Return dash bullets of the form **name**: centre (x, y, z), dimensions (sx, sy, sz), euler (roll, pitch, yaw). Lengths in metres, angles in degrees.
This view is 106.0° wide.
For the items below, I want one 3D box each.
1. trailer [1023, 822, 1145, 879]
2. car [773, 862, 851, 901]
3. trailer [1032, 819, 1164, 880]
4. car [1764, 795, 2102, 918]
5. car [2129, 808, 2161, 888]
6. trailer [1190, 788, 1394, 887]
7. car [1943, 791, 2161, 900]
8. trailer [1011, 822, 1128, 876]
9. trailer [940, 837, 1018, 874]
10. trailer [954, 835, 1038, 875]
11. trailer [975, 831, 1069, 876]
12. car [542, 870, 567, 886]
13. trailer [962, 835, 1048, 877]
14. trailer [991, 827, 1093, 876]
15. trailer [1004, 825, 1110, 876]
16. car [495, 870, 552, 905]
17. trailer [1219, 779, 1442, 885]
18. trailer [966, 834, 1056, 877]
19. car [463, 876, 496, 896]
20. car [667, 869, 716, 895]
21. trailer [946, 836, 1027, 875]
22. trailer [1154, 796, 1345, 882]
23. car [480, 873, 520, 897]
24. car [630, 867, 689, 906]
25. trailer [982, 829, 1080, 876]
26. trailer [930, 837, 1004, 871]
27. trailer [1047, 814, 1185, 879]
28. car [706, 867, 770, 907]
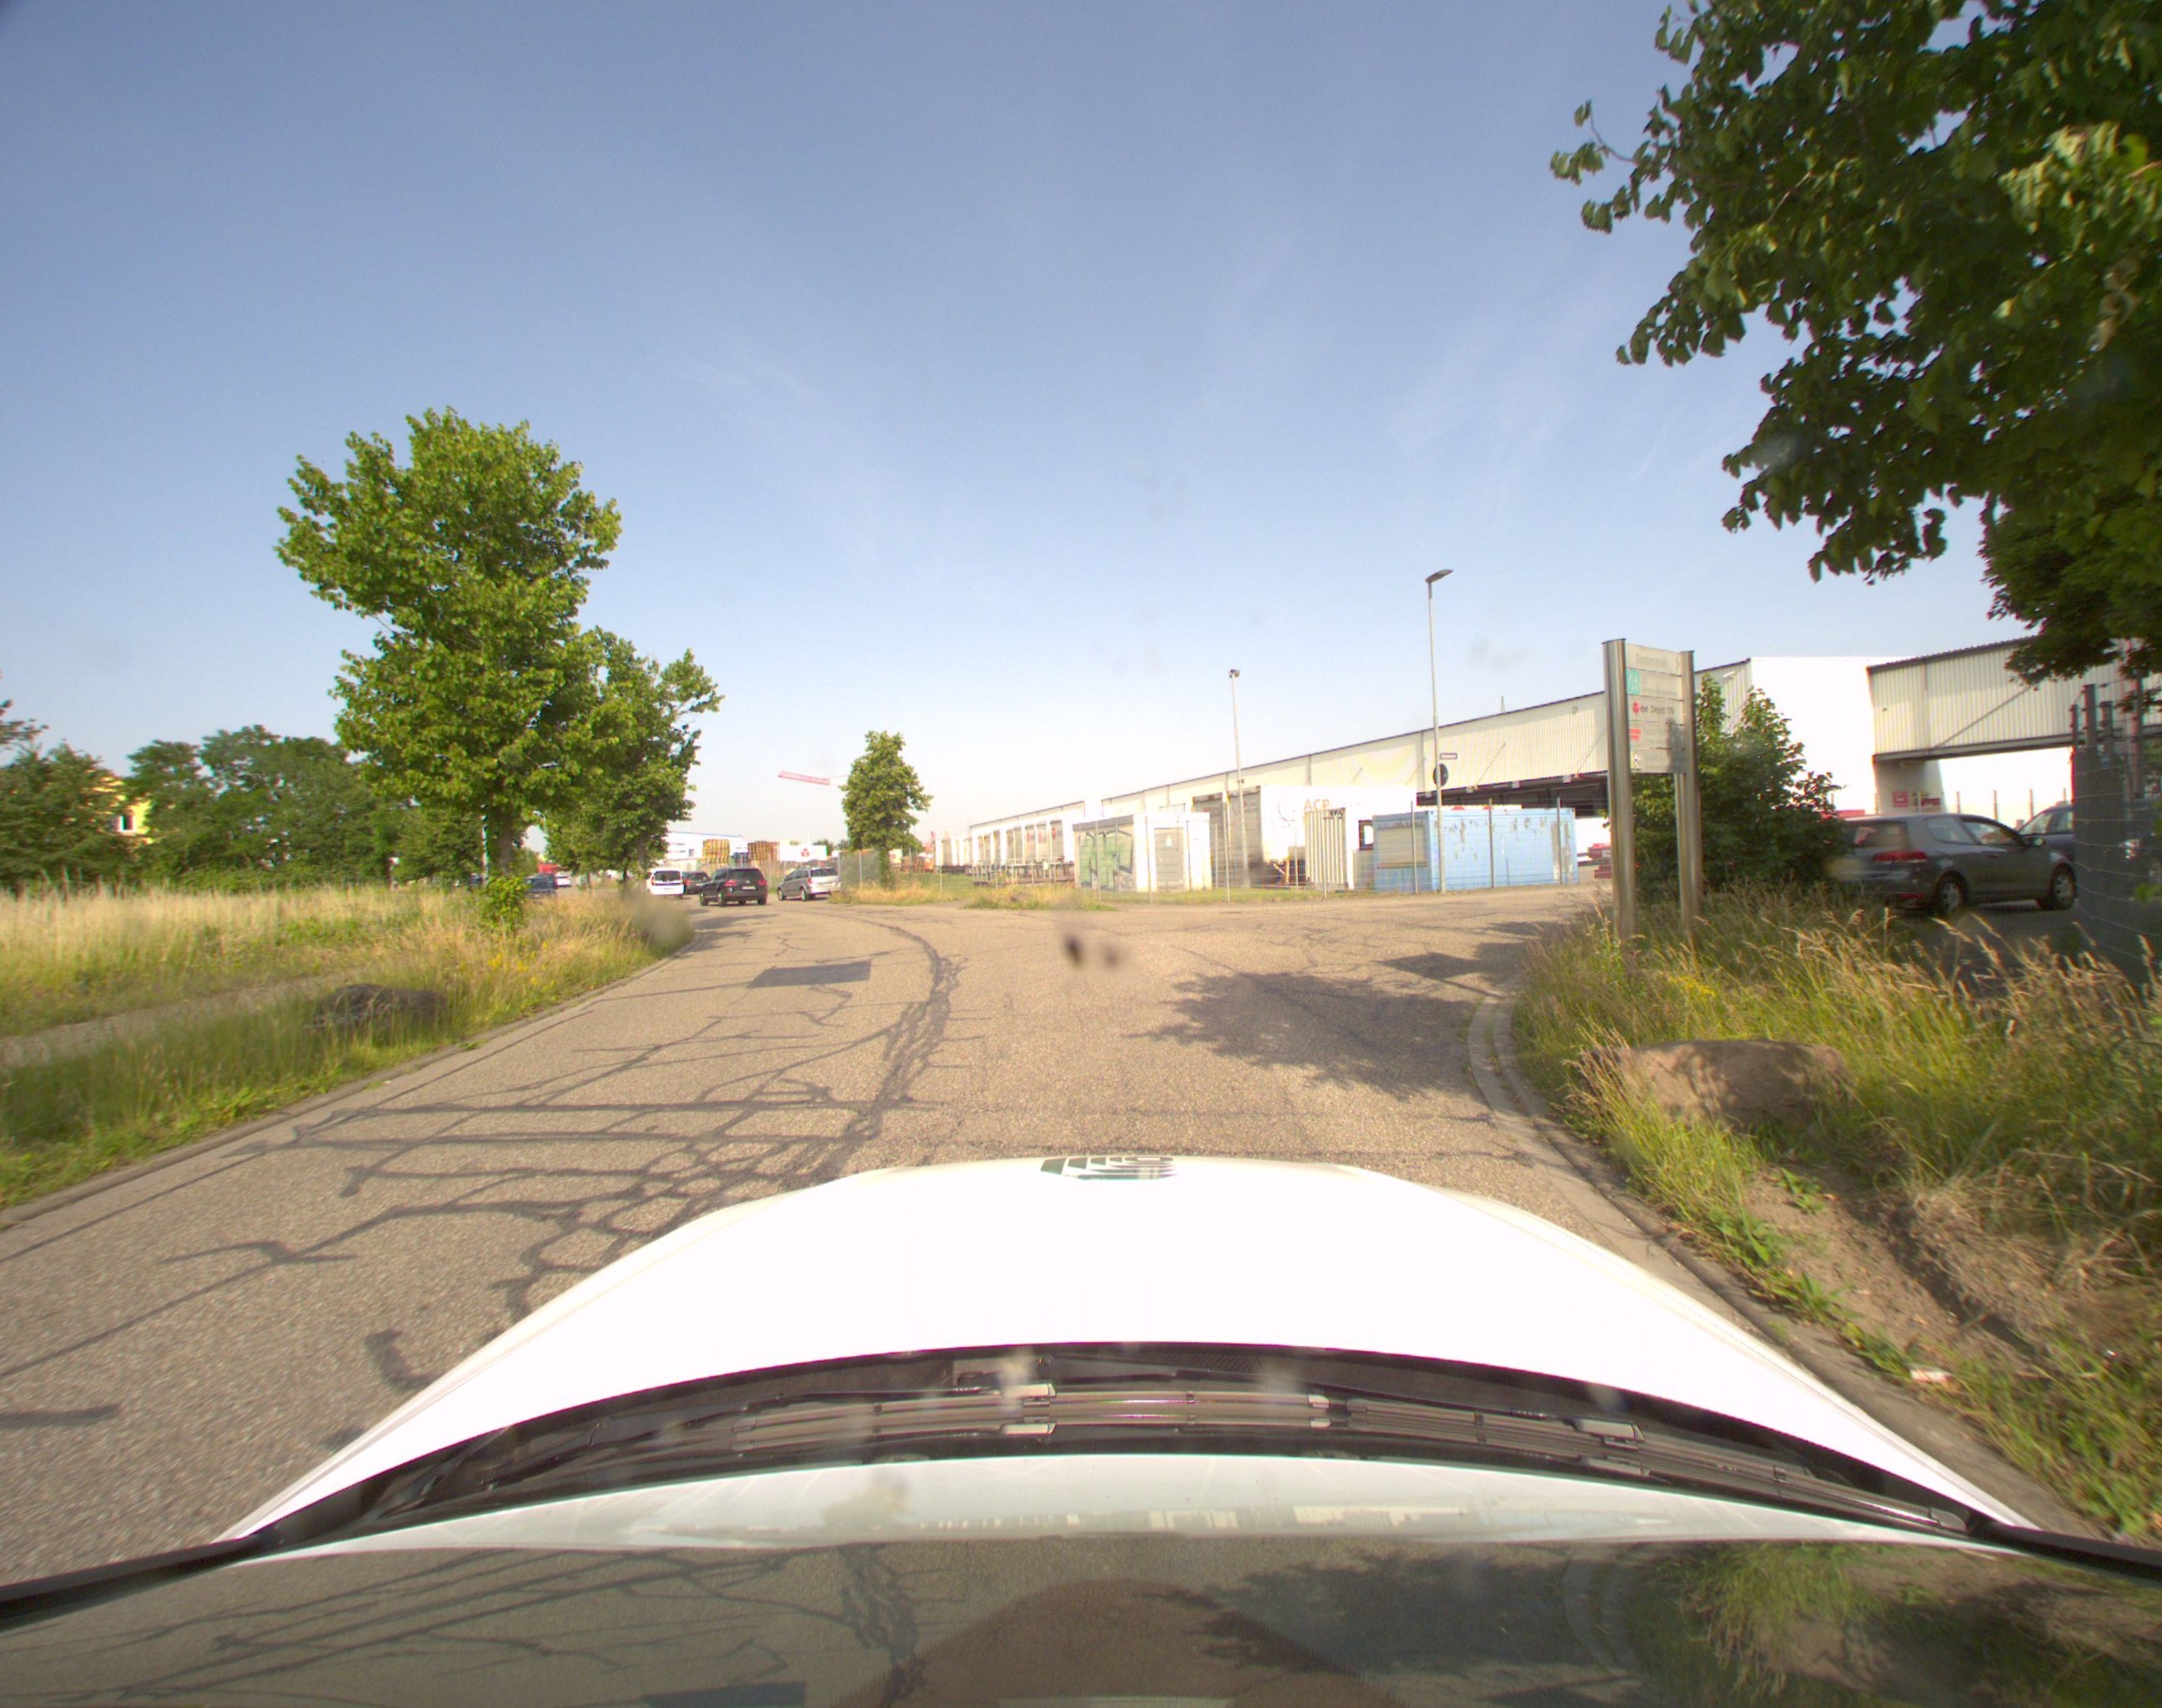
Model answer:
- **trailer**: centre (0.261, -0.233, 58.102), dimensions (8.341, 3.893, 2.755), euler (0, 0, -23)
- **car**: centre (-12.635, 1.267, 38.119), dimensions (1.815, 1.625, 4.396), euler (-4, 1, -41)
- **trailer**: centre (1.198, -0.294, 55.199), dimensions (8.571, 3.893, 2.755), euler (0, 0, -23)
- **car**: centre (12.301, 0.043, 11.811), dimensions (3.958, 1.524, 1.717), euler (-2, -3, -17)
- **car**: centre (22.800, -0.220, 15.699), dimensions (4.490, 1.518, 1.717), euler (-2, -2, -18)
- **trailer**: centre (9.348, -0.763, 35.930), dimensions (8.567, 3.893, 2.756), euler (-3, 0, -21)
- **car**: centre (17.101, -0.143, 13.775), dimensions (4.269, 1.626, 1.864), euler (-2, -3, -20)
- **trailer**: centre (-0.836, -0.342, 60.940), dimensions (8.341, 3.893, 2.755), euler (0, 0, -23)
- **trailer**: centre (-11.016, 0.155, 87.862), dimensions (7.995, 3.893, 2.755), euler (0, 0, -23)
- **trailer**: centre (-8.580, 0.145, 82.148), dimensions (7.995, 3.893, 2.755), euler (0, 0, -23)
- **trailer**: centre (-5.290, -0.057, 73.092), dimensions (7.995, 3.893, 2.755), euler (0, 0, -23)
- **car**: centre (-59.419, 2.707, 91.836), dimensions (1.730, 1.680, 3.902), euler (-1, -1, -42)
- **trailer**: centre (-7.374, 0.196, 79.248), dimensions (7.995, 3.893, 2.755), euler (0, 0, -23)
- **trailer**: centre (-3.187, -0.175, 67.422), dimensions (7.995, 3.893, 2.755), euler (0, 0, -23)
- **trailer**: centre (-1.884, -0.285, 64.758), dimensions (8.066, 3.893, 2.755), euler (0, 0, -23)
- **car**: centre (-27.735, 1.648, 40.427), dimensions (1.919, 1.626, 4.396), euler (0, -1, -40)
- **trailer**: centre (10.146, -0.896, 33.046), dimensions (8.565, 3.894, 2.756), euler (-2, -3, -20)
- **trailer**: centre (-6.534, 0.125, 75.989), dimensions (7.995, 3.893, 2.755), euler (0, 0, -23)
- **car**: centre (-47.081, 2.473, 63.683), dimensions (1.848, 1.496, 4.001), euler (0, -1, -40)
- **car**: centre (-25.684, 1.863, 53.605), dimensions (1.730, 1.515, 3.955), euler (-4, 1, -43)
- **trailer**: centre (-9.888, 0.162, 85.183), dimensions (7.995, 3.893, 2.755), euler (0, 0, -23)
- **trailer**: centre (8.056, -0.718, 38.699), dimensions (8.767, 3.761, 2.770), euler (-1, -1, -22)
- **car**: centre (-38.493, 2.018, 53.955), dimensions (1.848, 1.496, 4.001), euler (0, -1, -40)
- **car**: centre (-24.645, 1.883, 47.503), dimensions (2.139, 2.110, 4.571), euler (-2, -1, -39)
- **trailer**: centre (-4.271, -0.106, 70.157), dimensions (7.995, 3.893, 2.755), euler (0, 0, -23)
- **trailer**: centre (-13.077, 0.001, 93.503), dimensions (7.995, 3.893, 2.722), euler (0, 0, -23)
- **trailer**: centre (2.271, -0.457, 52.342), dimensions (8.571, 3.893, 2.755), euler (0, 0, -23)
- **car**: centre (-15.066, 1.429, 35.642), dimensions (1.894, 1.586, 4.070), euler (-2, -1, -33)
